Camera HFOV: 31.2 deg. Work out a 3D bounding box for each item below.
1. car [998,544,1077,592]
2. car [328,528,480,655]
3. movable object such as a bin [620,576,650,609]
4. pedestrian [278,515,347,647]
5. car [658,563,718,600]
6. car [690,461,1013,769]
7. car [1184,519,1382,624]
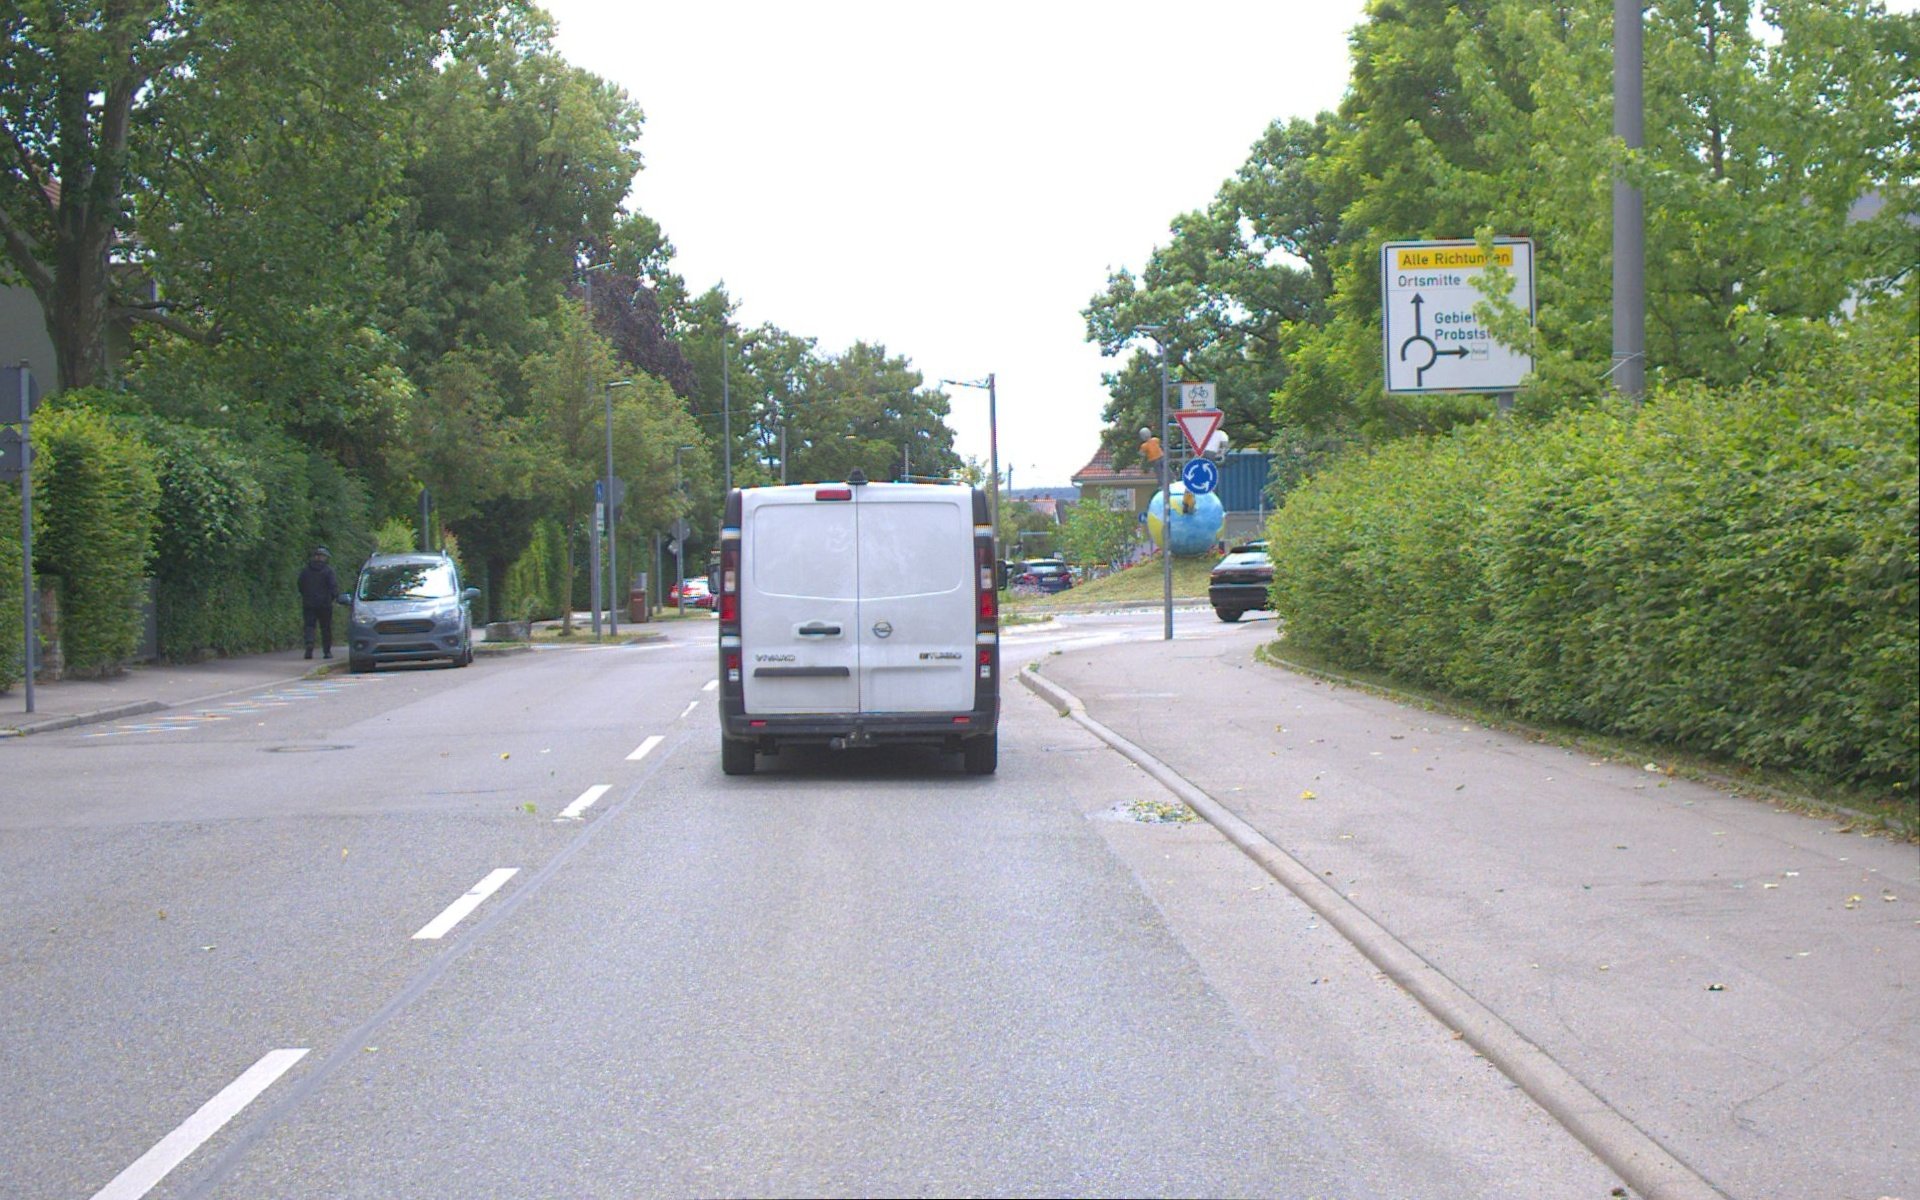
[{"bbox_3d":[2.571,-1.087,115.088,1.932,1.532,3.926,-1,2,-9],"label":"car"},{"bbox_3d":[-8.279,-0.166,51.510,2.131,1.766,4.466,1,1,-8],"label":"car"},{"bbox_3d":[-8.847,-0.215,93.694,0.630,0.860,0.640,-2,1,10],"label":"movable object such as a bin"},{"bbox_3d":[-10.065,-0.302,53.479,0.871,2.007,1.041,-2,1,-5],"label":"pedestrian"},{"bbox_3d":[-11.184,-0.779,141.136,2.062,1.381,4.049,-1,2,-10],"label":"car"},{"bbox_3d":[-0.726,0.038,24.471,2.034,1.938,4.994,1,1,-1],"label":"car"},{"bbox_3d":[6.489,-0.588,68.741,1.998,2.007,3.991,2,2,40],"label":"car"}]
